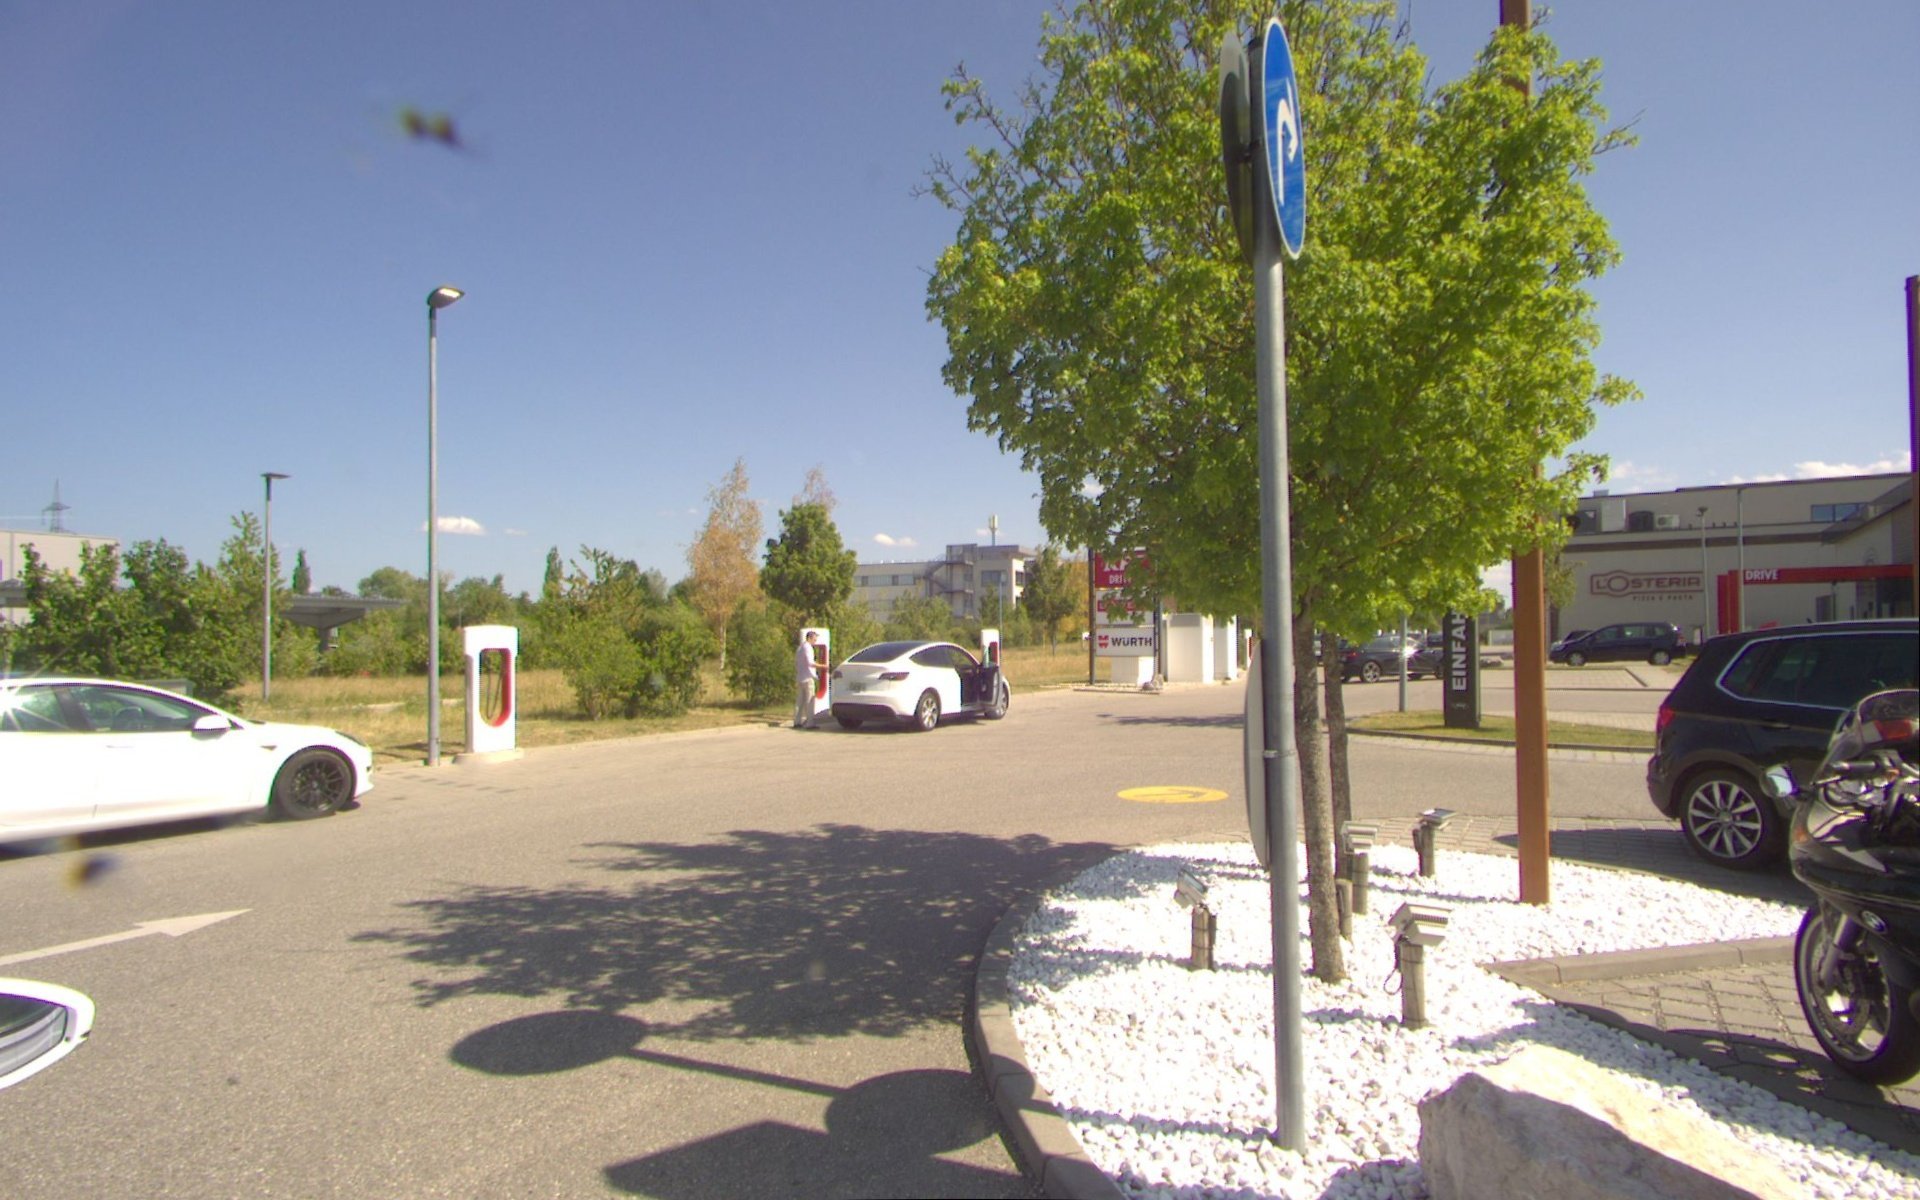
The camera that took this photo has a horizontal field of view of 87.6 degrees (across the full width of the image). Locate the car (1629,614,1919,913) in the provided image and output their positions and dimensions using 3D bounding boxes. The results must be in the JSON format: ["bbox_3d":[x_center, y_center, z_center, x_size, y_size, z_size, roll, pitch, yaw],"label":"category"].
[{"bbox_3d":[5.994,0.846,5.085,1.861,1.556,4.187,0,-1,-13],"label":"car"}]

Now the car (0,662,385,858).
[{"bbox_3d":[-7.672,1.295,8.637,1.796,1.395,4.429,-1,-2,30],"label":"car"}]

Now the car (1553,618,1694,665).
[{"bbox_3d":[25.028,1.566,37.949,4.319,1.707,1.635,-2,-2,30],"label":"car"}]

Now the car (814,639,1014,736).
[{"bbox_3d":[-0.748,1.595,19.591,1.842,1.620,4.471,-1,-2,29],"label":"car"}]

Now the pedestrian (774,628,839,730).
[{"bbox_3d":[-2.854,1.441,18.676,0.725,1.823,1.031,0,-1,28],"label":"pedestrian"}]

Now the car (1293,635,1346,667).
[{"bbox_3d":[18.914,2.651,52.586,1.923,1.588,3.982,-1,-2,31],"label":"car"}]

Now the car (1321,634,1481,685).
[{"bbox_3d":[13.409,1.795,30.605,4.132,1.459,1.699,0,-2,-3],"label":"car"}]

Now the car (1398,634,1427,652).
[{"bbox_3d":[36.382,3.465,80.453,1.722,1.404,3.983,-1,-2,30],"label":"car"}]

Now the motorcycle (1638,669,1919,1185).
[{"bbox_3d":[3.049,0.862,2.352,1.052,1.267,2.248,1,-1,-16],"label":"motorcycle"}]
